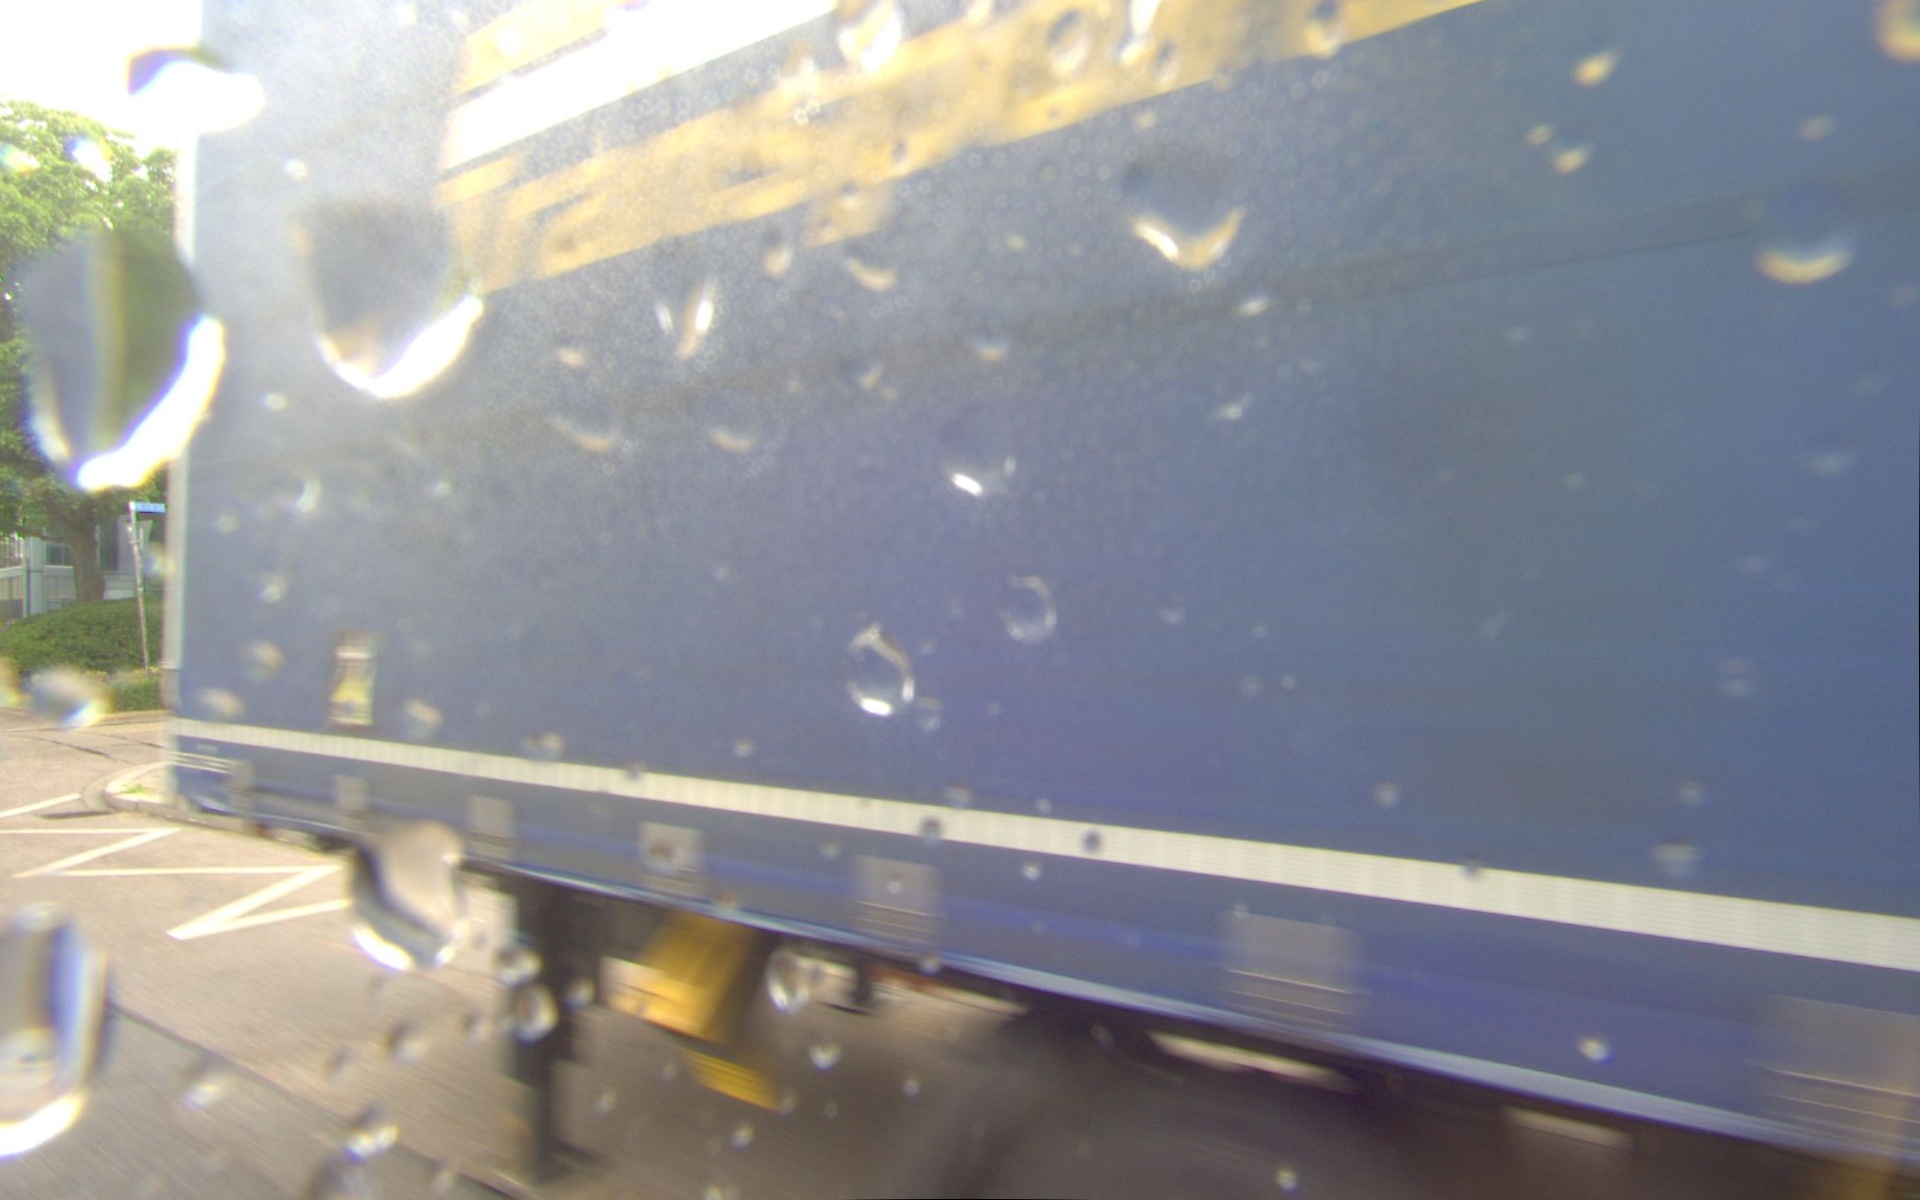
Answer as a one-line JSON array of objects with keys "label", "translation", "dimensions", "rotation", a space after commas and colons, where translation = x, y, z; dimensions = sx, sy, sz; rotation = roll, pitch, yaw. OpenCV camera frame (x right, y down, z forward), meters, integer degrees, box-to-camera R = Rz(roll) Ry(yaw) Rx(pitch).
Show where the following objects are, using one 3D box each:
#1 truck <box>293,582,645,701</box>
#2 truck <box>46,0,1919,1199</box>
[{"label": "truck", "translation": [-10.189, 0.804, 21.664], "dimensions": [2.063, 2.168, 6.916], "rotation": [0, -1, 29]}, {"label": "truck", "translation": [1.293, -0.220, 2.217], "dimensions": [7.636, 3.656, 2.739], "rotation": [-1, -3, 31]}]
